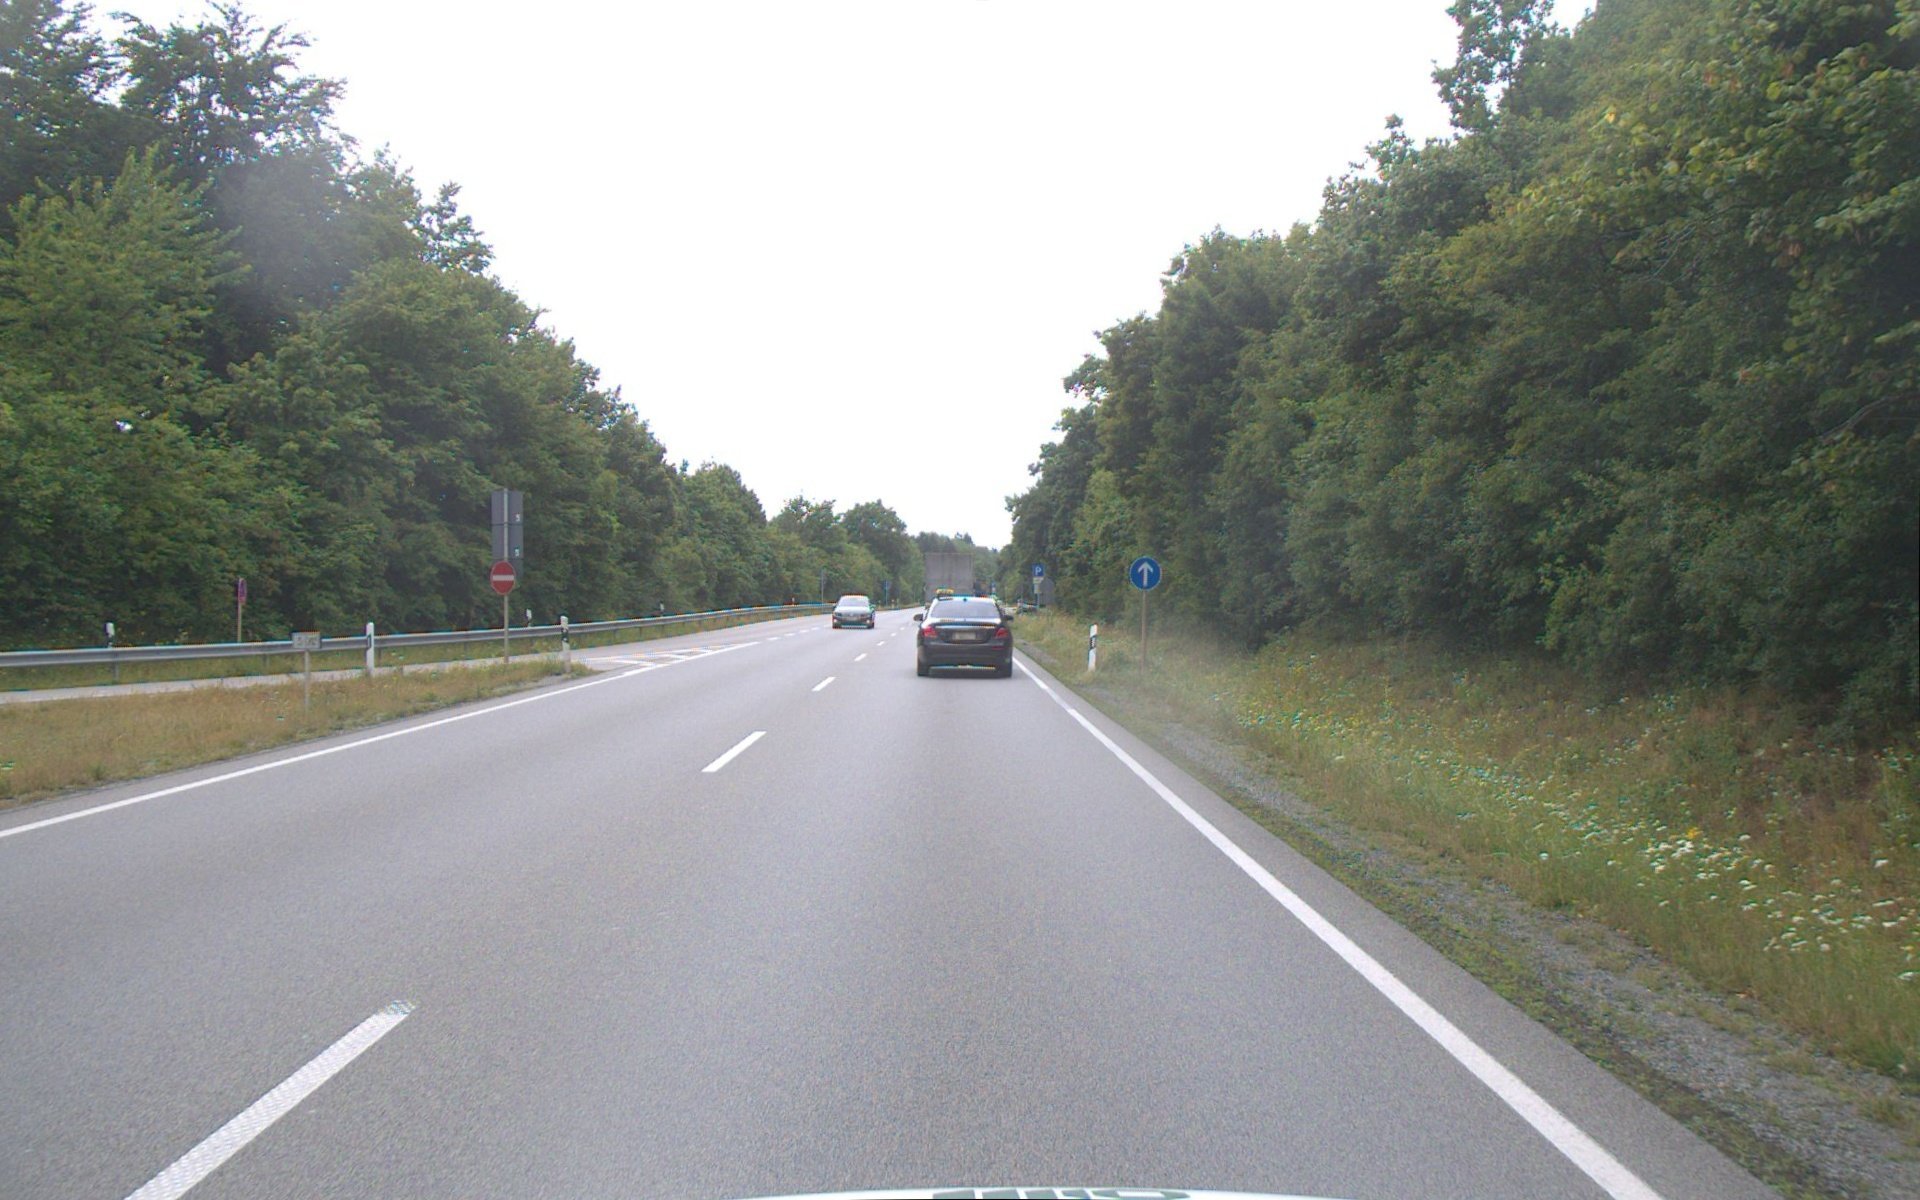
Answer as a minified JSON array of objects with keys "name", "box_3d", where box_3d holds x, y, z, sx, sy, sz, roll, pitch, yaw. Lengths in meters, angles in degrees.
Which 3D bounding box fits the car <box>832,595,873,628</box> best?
[{"name":"car","box_3d":[-4.945,0.508,76.311,1.772,1.467,4.445,1,0,-3]}]

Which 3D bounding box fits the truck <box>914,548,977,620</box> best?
[{"name":"truck","box_3d":[-0.775,-0.847,91.374,3.214,3.675,11.398,1,0,0]}]

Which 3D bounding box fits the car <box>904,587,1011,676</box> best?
[{"name":"car","box_3d":[-0.108,0.567,31.881,1.756,1.579,3.996,1,0,-4]}]
